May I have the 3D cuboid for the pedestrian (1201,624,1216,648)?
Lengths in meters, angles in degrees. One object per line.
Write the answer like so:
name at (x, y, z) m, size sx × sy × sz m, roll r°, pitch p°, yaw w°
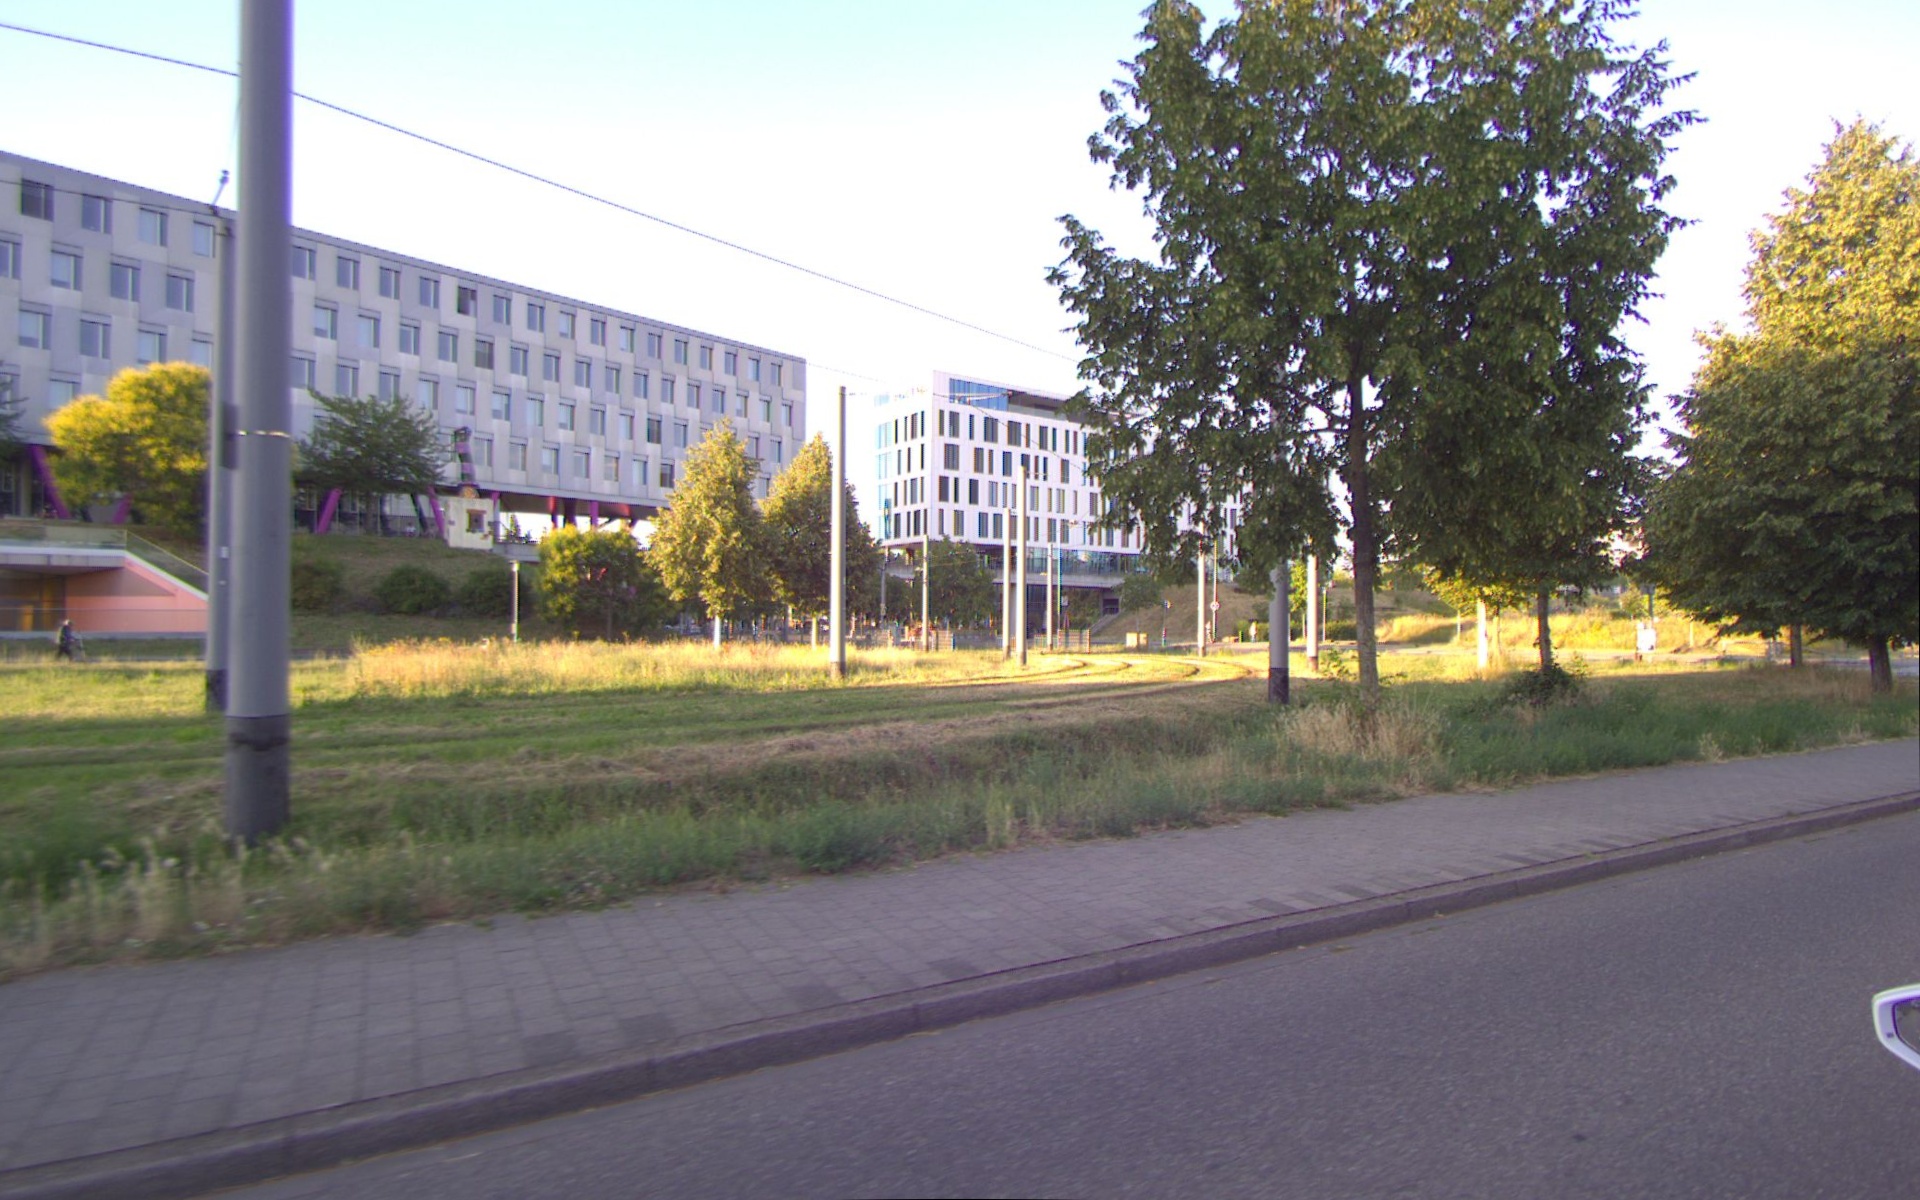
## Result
pedestrian at (18.896, 2.734, 76.533) m, size 0.803 × 1.810 × 0.784 m, roll 1°, pitch -1°, yaw -27°

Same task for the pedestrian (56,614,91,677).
pedestrian at (-30.693, 1.569, 34.776) m, size 0.781 × 2.110 × 0.613 m, roll 1°, pitch 1°, yaw -31°
